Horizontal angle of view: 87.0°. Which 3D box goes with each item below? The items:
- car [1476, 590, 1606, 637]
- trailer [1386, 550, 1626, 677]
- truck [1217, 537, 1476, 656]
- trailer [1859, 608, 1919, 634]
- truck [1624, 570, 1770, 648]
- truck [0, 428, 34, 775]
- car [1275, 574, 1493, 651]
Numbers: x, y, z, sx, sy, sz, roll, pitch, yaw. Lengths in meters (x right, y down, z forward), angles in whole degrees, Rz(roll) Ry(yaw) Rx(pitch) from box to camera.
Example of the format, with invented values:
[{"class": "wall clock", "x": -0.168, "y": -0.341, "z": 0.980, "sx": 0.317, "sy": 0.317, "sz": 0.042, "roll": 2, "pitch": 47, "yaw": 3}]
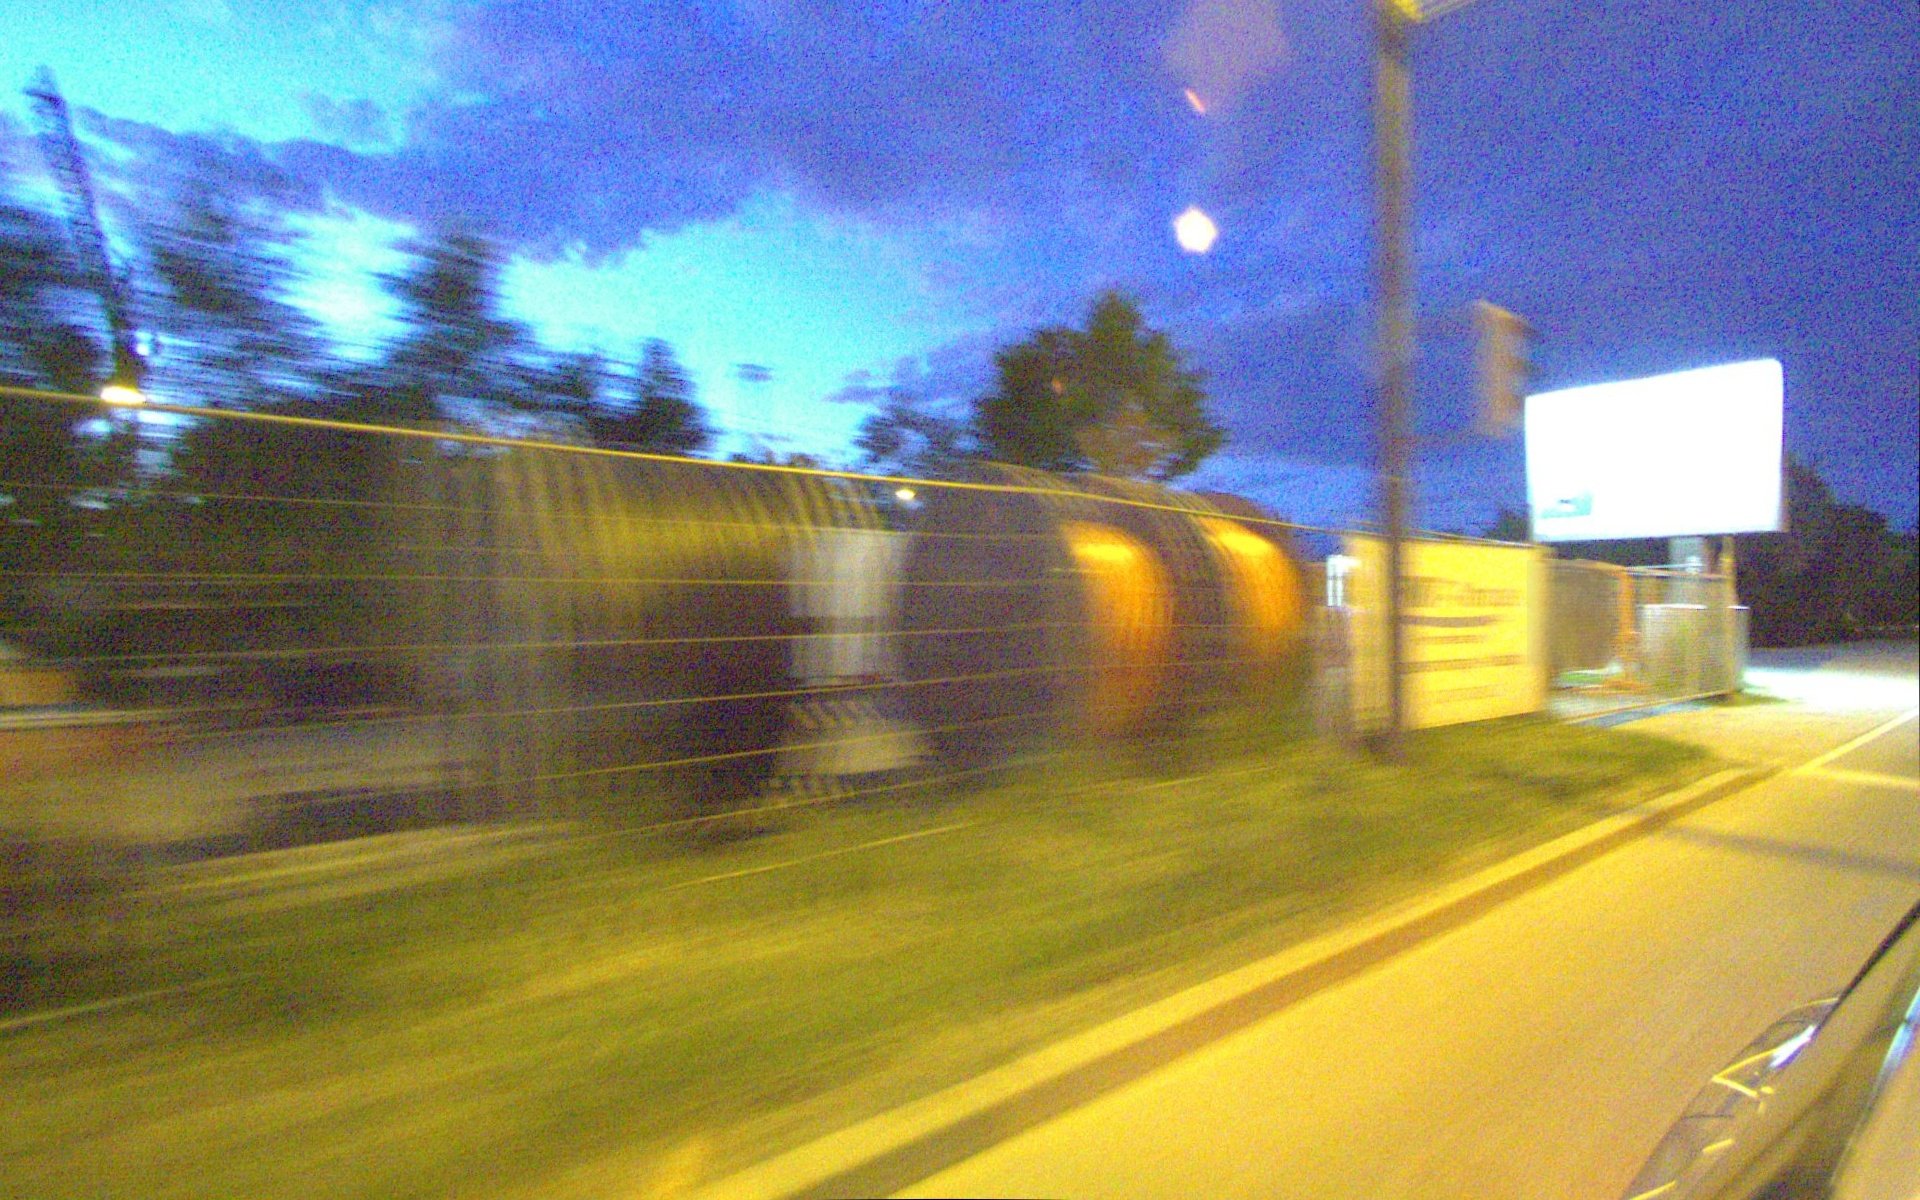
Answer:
[{"class": "car", "x": 21.466, "y": 0.492, "z": 37.475, "sx": 1.680, "sy": 1.625, "sz": 3.860, "roll": 0, "pitch": -1, "yaw": -42}, {"class": "trailer", "x": 9.637, "y": 0.211, "z": 18.215, "sx": 1.580, "sy": 2.039, "sz": 3.767, "roll": 1, "pitch": 0, "yaw": -16}, {"class": "truck", "x": 9.480, "y": -0.053, "z": 25.259, "sx": 2.429, "sy": 2.633, "sz": 5.538, "roll": 0, "pitch": -1, "yaw": -41}, {"class": "trailer", "x": 39.959, "y": 0.840, "z": 42.248, "sx": 9.443, "sy": 0.979, "sz": 2.177, "roll": 0, "pitch": -2, "yaw": -40}, {"class": "truck", "x": 24.641, "y": 0.261, "z": 33.669, "sx": 7.611, "sy": 2.313, "sz": 2.380, "roll": 0, "pitch": -1, "yaw": -42}, {"class": "truck", "x": -11.024, "y": 0.051, "z": 6.571, "sx": 7.180, "sy": 2.783, "sz": 2.189, "roll": 0, "pitch": -1, "yaw": -37}, {"class": "car", "x": 11.160, "y": 0.317, "z": 27.008, "sx": 1.953, "sy": 1.859, "sz": 5.086, "roll": 0, "pitch": 0, "yaw": -37}]
